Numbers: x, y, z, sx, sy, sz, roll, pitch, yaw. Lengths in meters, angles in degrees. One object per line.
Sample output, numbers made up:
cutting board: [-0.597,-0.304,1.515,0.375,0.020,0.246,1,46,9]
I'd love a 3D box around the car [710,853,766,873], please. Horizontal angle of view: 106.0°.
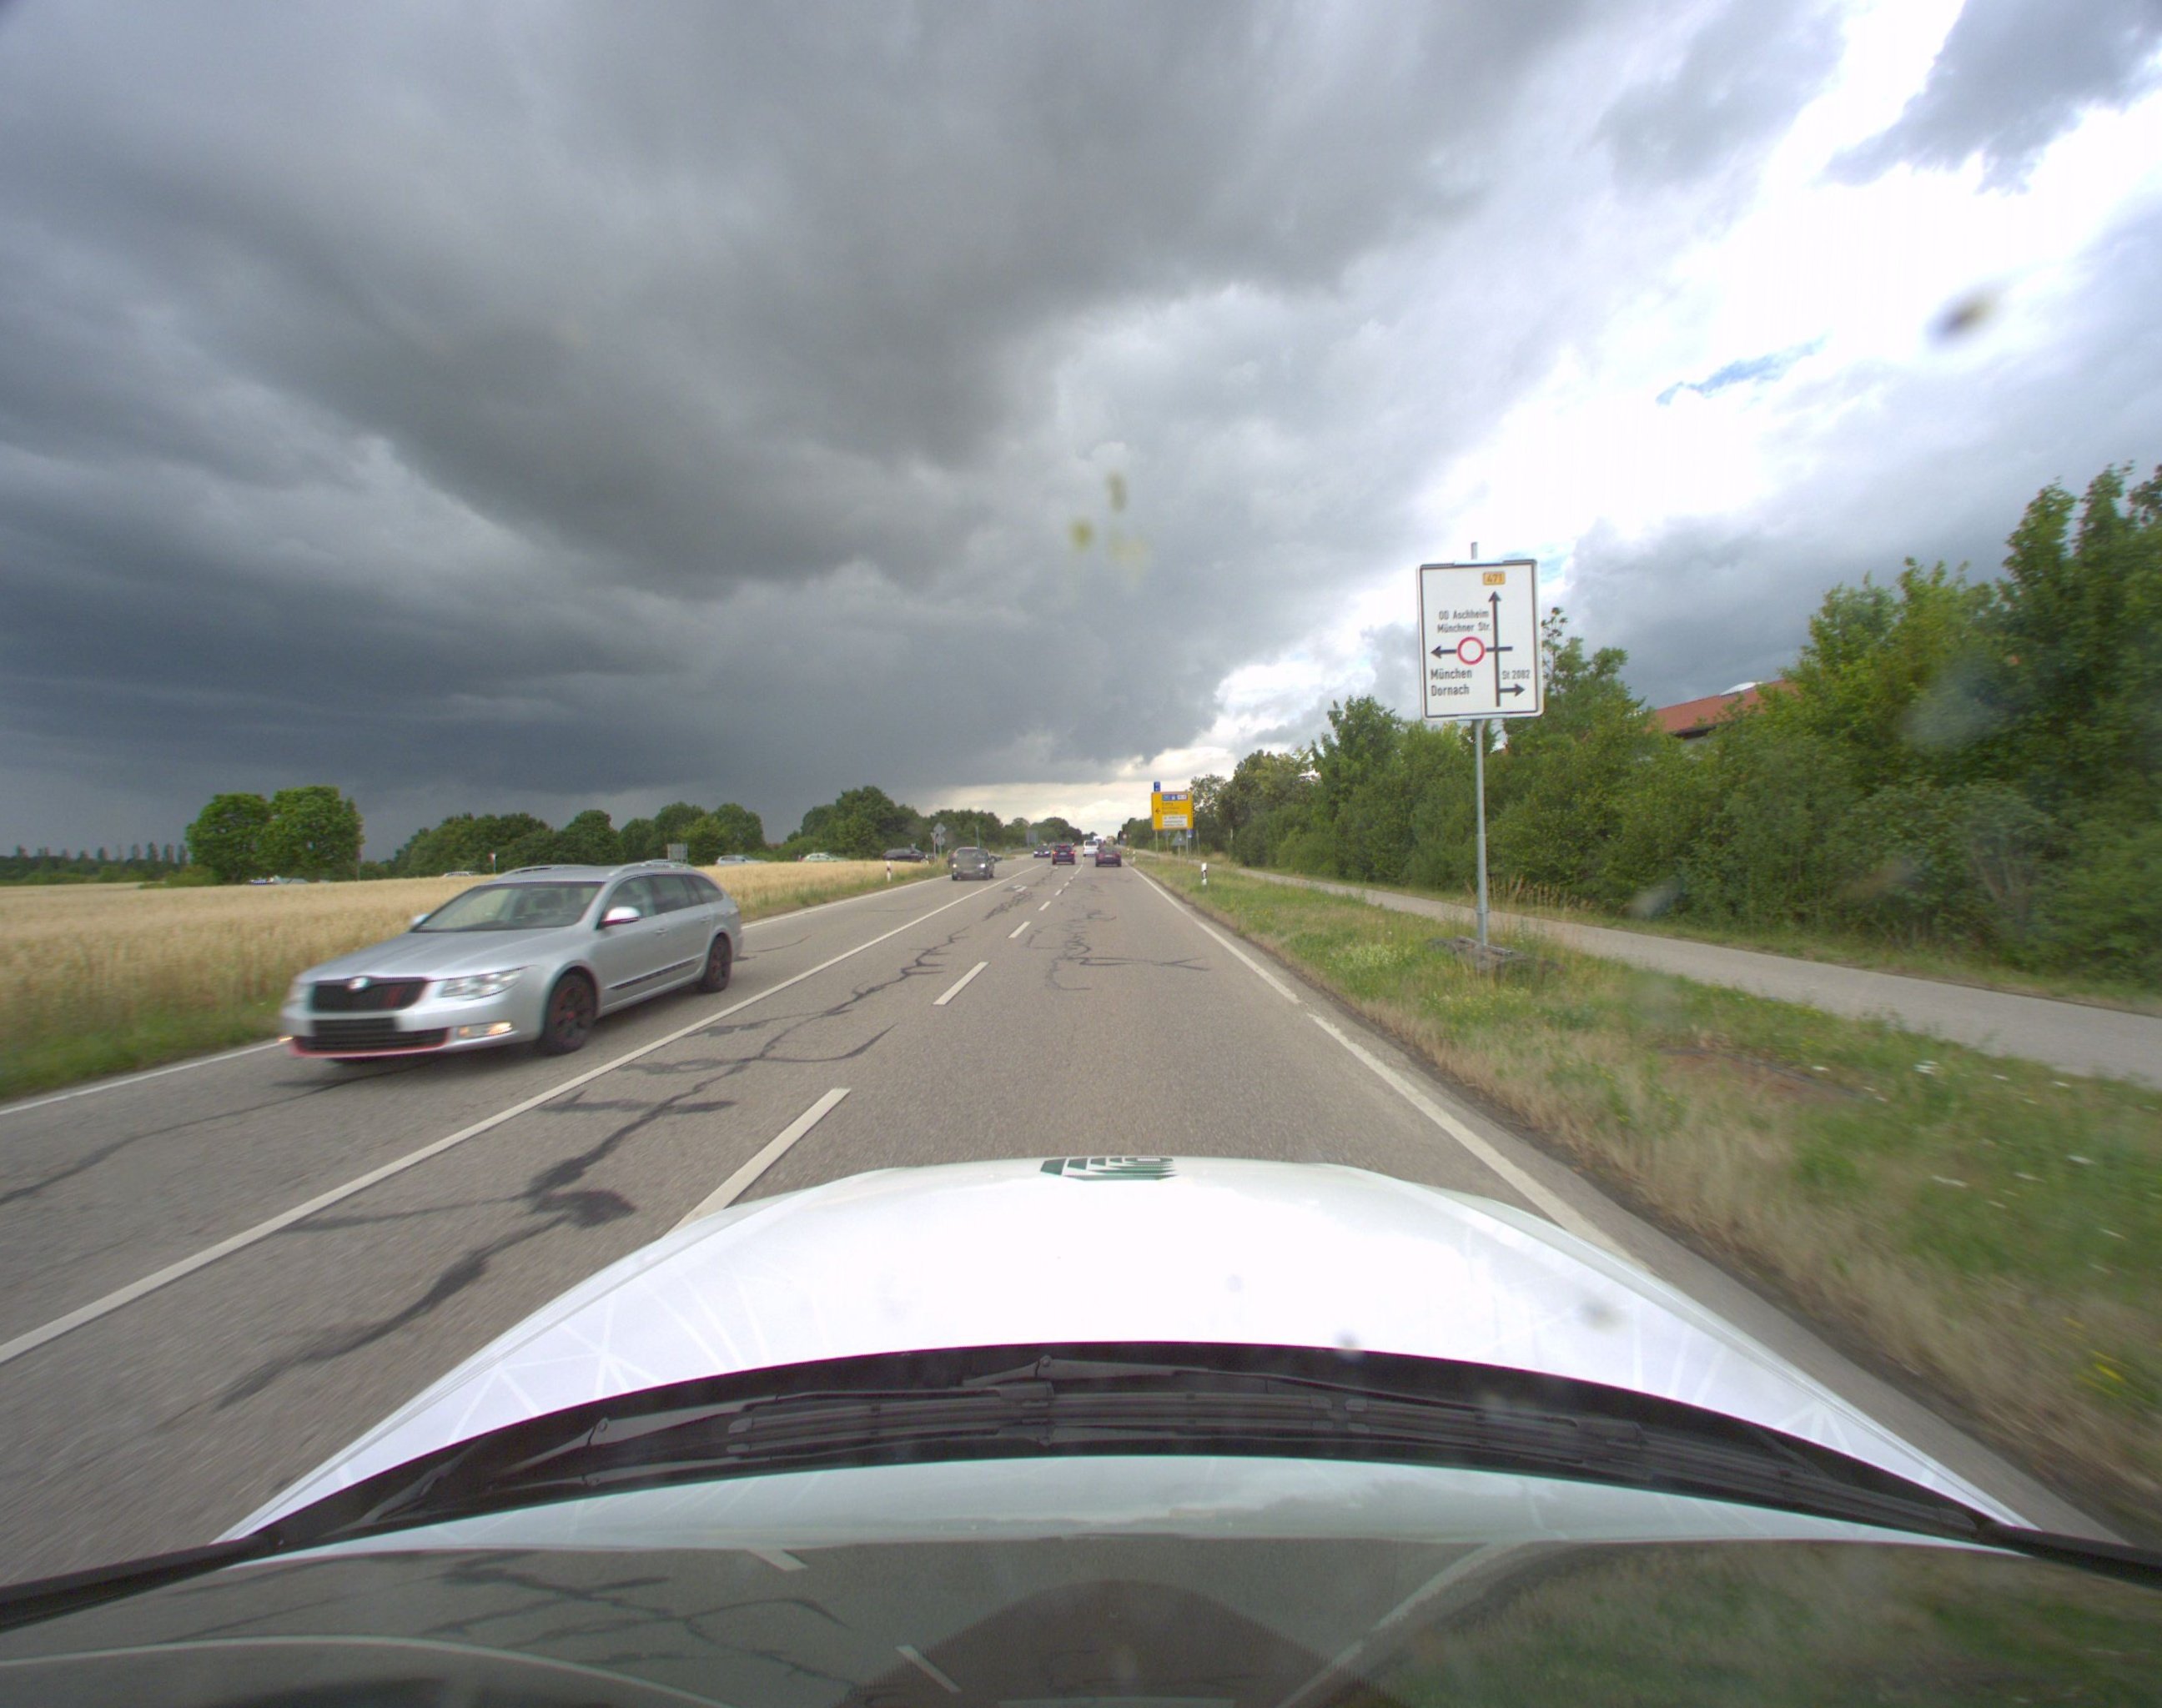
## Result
car: [-30.469,0.797,72.369,4.052,1.649,1.869,-2,0,5]

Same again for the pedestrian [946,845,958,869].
pedestrian: [-8.872,0.202,55.925,0.363,1.575,0.708,-2,0,37]

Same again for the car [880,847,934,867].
car: [-15.186,0.247,71.283,4.402,1.649,1.501,-2,0,-3]

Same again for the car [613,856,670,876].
car: [-39.512,1.053,73.312,4.052,1.649,1.869,-2,0,5]

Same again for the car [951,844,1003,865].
car: [-9.090,0.054,71.577,4.404,1.649,1.500,-2,0,-4]

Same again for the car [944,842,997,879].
car: [-5.262,0.270,39.167,1.847,1.630,4.001,-2,0,1]

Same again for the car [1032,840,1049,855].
car: [-4.613,-0.705,92.928,1.640,1.590,4.002,-2,0,2]

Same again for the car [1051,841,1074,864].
car: [-1.443,-0.146,65.258,1.566,1.701,4.001,-2,0,1]

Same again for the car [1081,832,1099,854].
car: [1.072,-1.327,96.712,1.991,2.452,4.854,-2,0,2]

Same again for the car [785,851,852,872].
car: [-23.240,0.633,72.214,5.283,1.649,1.869,-2,0,5]

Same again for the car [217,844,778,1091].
car: [-4.820,0.737,7.909,1.760,1.601,4.932,-2,0,1]

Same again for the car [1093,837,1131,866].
car: [2.201,-0.182,58.468,2.365,1.880,4.476,-3,0,-1]
